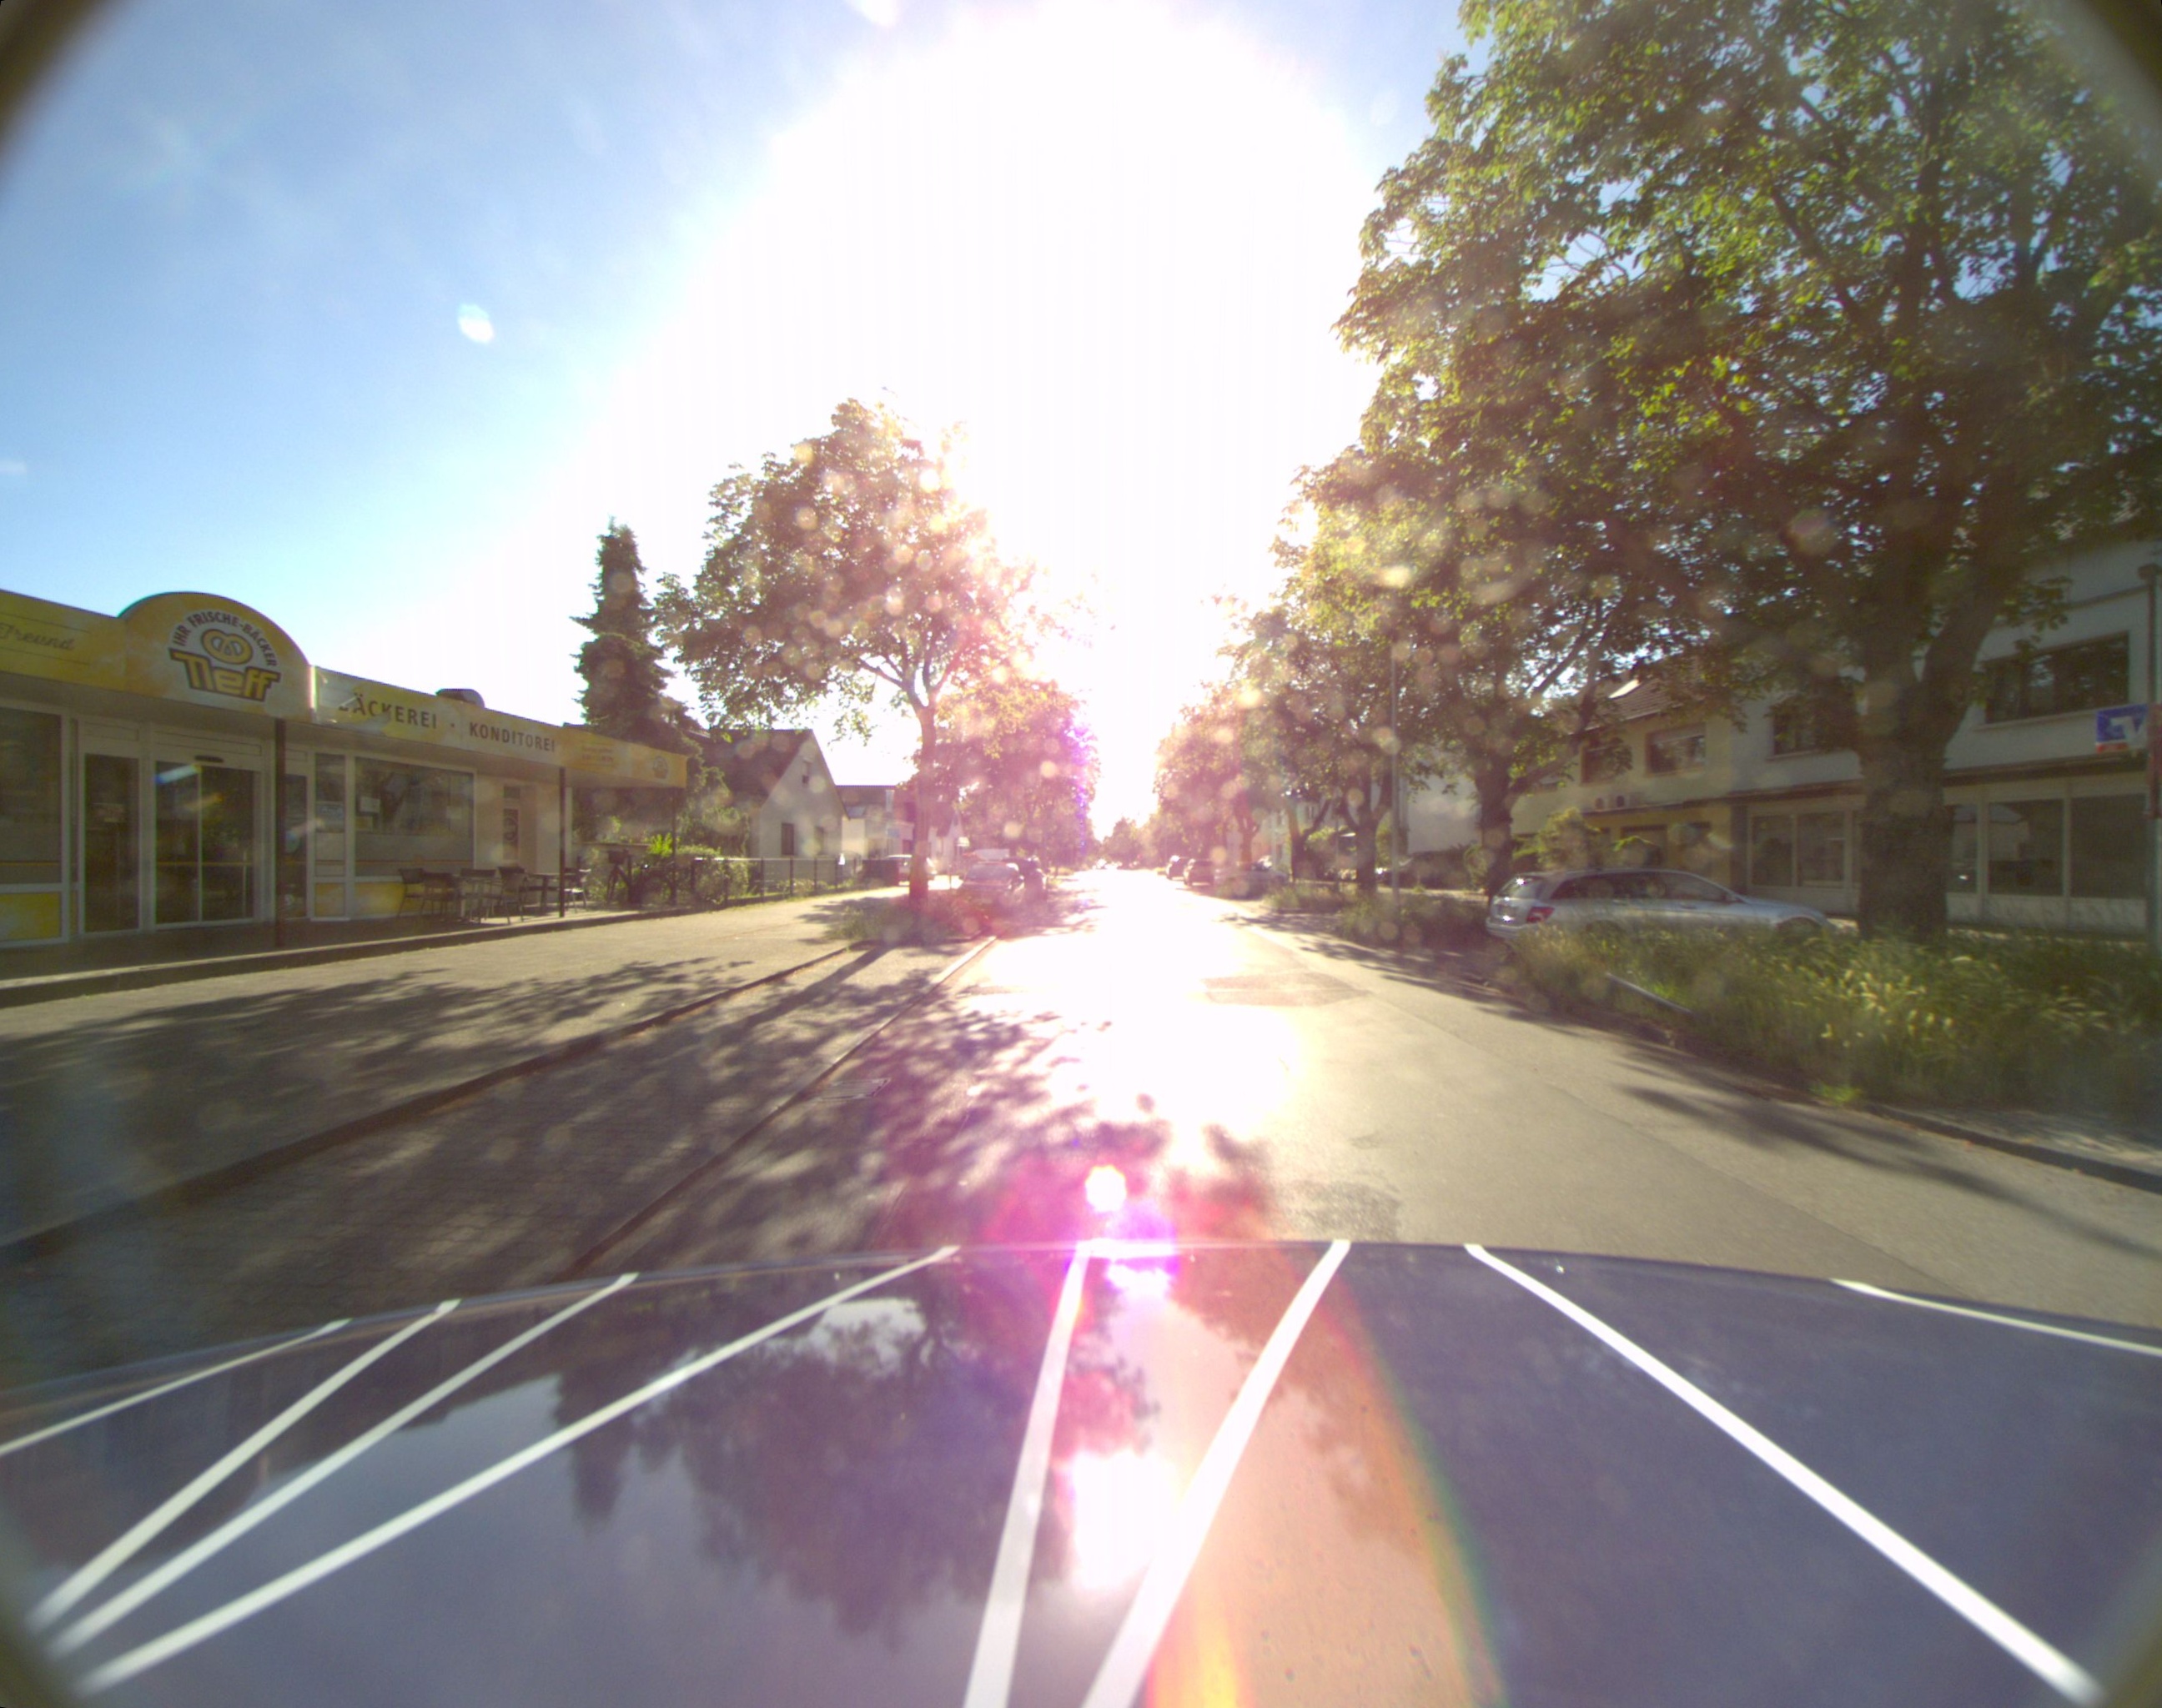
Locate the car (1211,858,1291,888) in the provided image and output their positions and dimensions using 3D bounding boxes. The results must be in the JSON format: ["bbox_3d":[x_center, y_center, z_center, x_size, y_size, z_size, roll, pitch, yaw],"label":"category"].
[{"bbox_3d":[8.757,0.963,39.262,3.694,1.315,1.624,-2,1,-4],"label":"car"}]

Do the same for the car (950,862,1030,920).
[{"bbox_3d":[-2.561,1.006,22.166,1.689,1.414,3.777,1,1,2],"label":"car"}]

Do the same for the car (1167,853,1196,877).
[{"bbox_3d":[7.278,0.781,55.444,1.815,1.722,4.056,0,0,4],"label":"car"}]

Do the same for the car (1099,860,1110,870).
[{"bbox_3d":[3.892,1.778,123.914,1.539,1.582,3.459,-3,1,4],"label":"car"}]

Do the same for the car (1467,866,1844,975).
[{"bbox_3d":[8.785,0.982,11.946,4.392,1.408,2.000,-1,1,1],"label":"car"}]

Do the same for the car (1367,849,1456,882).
[{"bbox_3d":[16.896,0.568,38.978,3.773,1.557,1.691,1,1,5],"label":"car"}]

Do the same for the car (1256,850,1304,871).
[{"bbox_3d":[19.010,0.605,72.764,3.997,1.674,2.000,-3,1,1],"label":"car"}]

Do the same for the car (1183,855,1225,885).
[{"bbox_3d":[7.077,0.893,44.131,1.998,1.530,3.695,-3,1,4],"label":"car"}]

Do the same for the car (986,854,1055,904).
[{"bbox_3d":[-2.173,0.859,28.400,1.941,1.684,4.363,-1,0,4],"label":"car"}]

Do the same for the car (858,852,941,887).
[{"bbox_3d":[-8.849,0.748,37.261,3.621,1.431,1.695,-3,1,-2],"label":"car"}]
